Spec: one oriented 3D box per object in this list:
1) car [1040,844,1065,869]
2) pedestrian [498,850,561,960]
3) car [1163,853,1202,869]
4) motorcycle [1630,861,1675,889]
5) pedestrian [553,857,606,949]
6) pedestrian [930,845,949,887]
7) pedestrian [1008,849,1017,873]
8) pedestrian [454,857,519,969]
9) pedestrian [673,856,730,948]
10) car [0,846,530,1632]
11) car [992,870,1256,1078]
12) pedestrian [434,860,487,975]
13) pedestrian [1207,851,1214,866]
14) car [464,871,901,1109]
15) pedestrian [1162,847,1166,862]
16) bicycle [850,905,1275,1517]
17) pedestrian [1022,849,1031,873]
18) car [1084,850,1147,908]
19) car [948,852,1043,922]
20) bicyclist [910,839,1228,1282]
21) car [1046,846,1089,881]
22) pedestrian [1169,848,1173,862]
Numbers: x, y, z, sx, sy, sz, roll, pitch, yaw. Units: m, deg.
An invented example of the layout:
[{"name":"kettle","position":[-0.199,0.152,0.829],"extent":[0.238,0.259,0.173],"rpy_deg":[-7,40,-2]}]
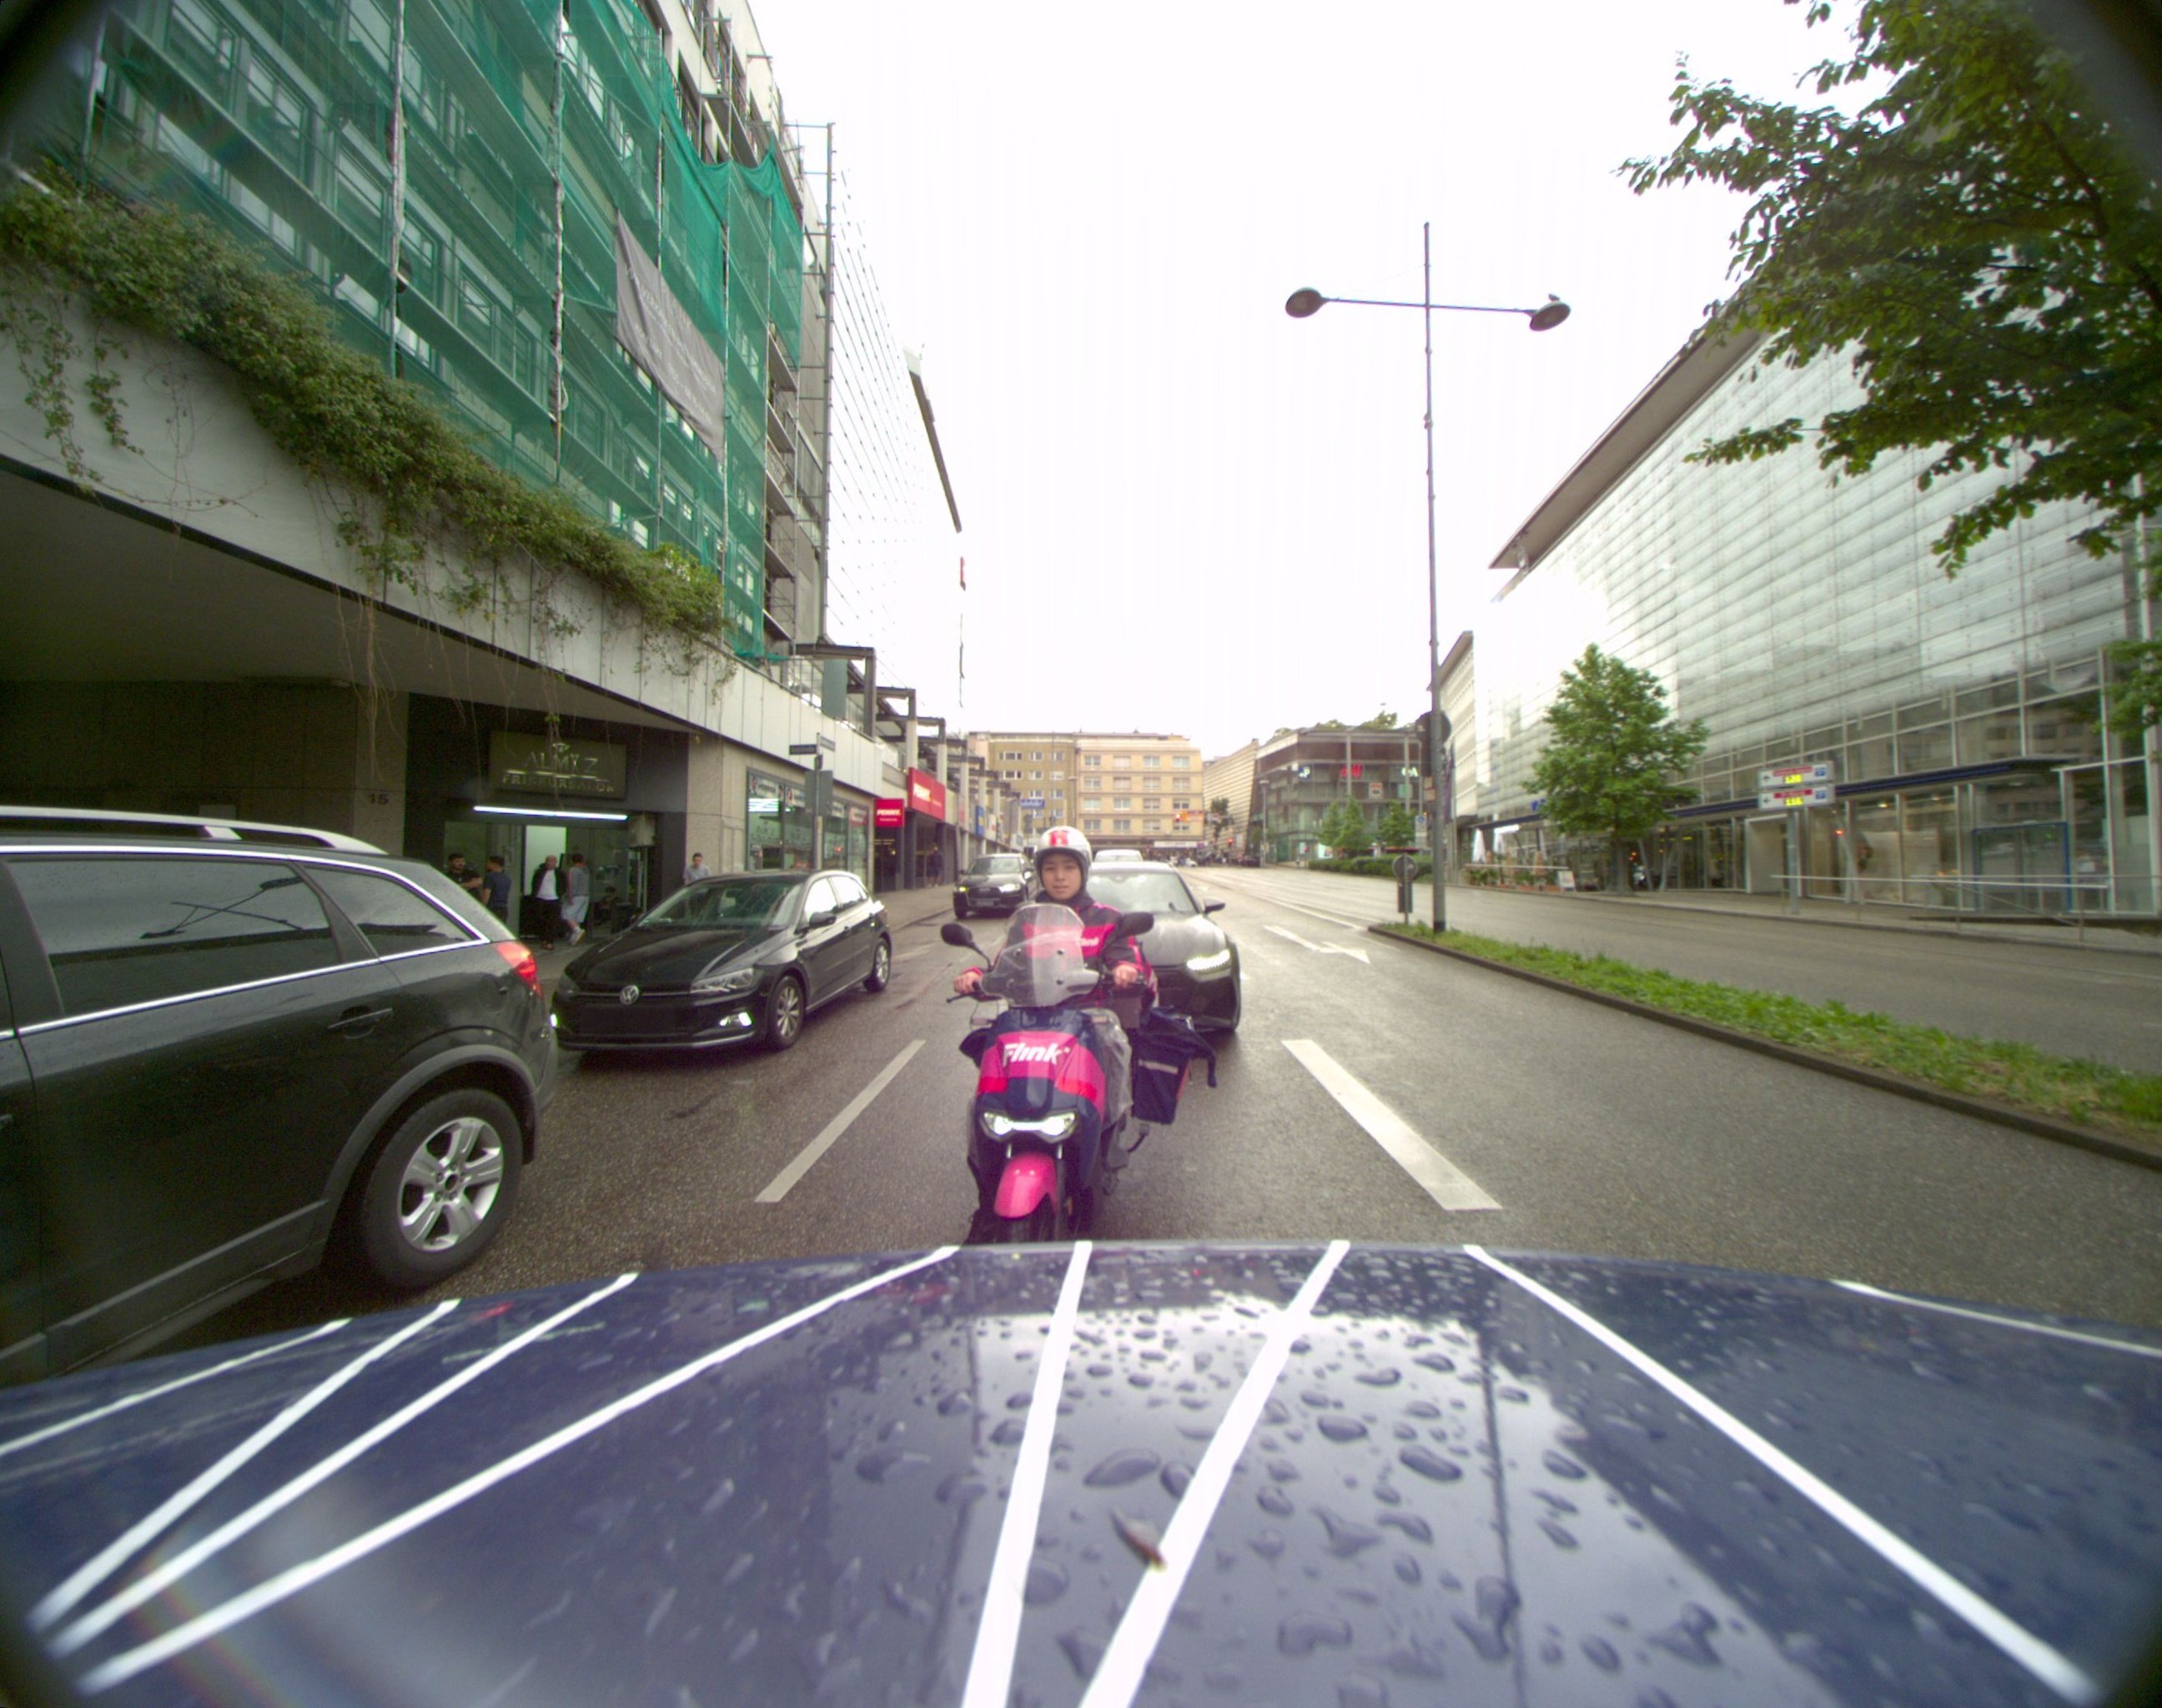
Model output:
[{"name":"car","position":[-2.416,0.205,65.568],"extent":[1.605,2.002,3.400],"rpy_deg":[-2,1,7]},{"name":"pedestrian","position":[-9.496,0.844,13.075],"extent":[0.771,1.805,0.745],"rpy_deg":[2,2,45]},{"name":"car","position":[12.898,0.925,96.844],"extent":[4.594,2.002,1.995],"rpy_deg":[0,1,-25]},{"name":"motorcycle","position":[28.033,1.033,37.262],"extent":[1.707,1.319,0.620],"rpy_deg":[0,1,1]},{"name":"pedestrian","position":[-9.251,0.877,14.031],"extent":[0.578,1.618,0.678],"rpy_deg":[2,2,44]},{"name":"pedestrian","position":[-5.724,0.486,30.682],"extent":[0.581,1.669,0.509],"rpy_deg":[-1,2,-34]},{"name":"pedestrian","position":[-4.279,0.433,47.345],"extent":[0.510,1.492,0.579],"rpy_deg":[0,2,0]},{"name":"pedestrian","position":[-8.837,0.847,11.320],"extent":[0.640,1.586,0.576],"rpy_deg":[-3,2,-32]},{"name":"pedestrian","position":[-7.038,0.873,14.123],"extent":[0.639,1.633,0.733],"rpy_deg":[-2,2,-3]},{"name":"car","position":[-3.323,0.883,1.233],"extent":[1.764,1.755,4.164],"rpy_deg":[-2,0,0]},{"name":"car","position":[0.403,0.934,7.670],"extent":[1.890,1.392,4.164],"rpy_deg":[-2,0,2]},{"name":"pedestrian","position":[-9.572,0.960,11.723],"extent":[0.466,1.698,0.484],"rpy_deg":[0,2,42]},{"name":"pedestrian","position":[14.702,0.510,86.420],"extent":[0.626,1.764,0.689],"rpy_deg":[-2,2,5]},{"name":"car","position":[-3.174,0.963,7.180],"extent":[1.759,1.495,4.165],"rpy_deg":[-2,-1,2]},{"name":"pedestrian","position":[9.282,0.068,85.378],"extent":[0.428,1.620,0.602],"rpy_deg":[1,1,5]},{"name":"bicycle","position":[-0.027,1.013,3.398],"extent":[1.034,1.279,2.948],"rpy_deg":[-2,1,1]},{"name":"pedestrian","position":[-3.409,0.434,47.500],"extent":[0.510,1.492,0.579],"rpy_deg":[0,2,0]},{"name":"car","position":[1.047,0.709,22.924],"extent":[1.675,1.520,4.165],"rpy_deg":[-2,-1,2]},{"name":"car","position":[-2.158,0.782,20.322],"extent":[1.841,1.598,4.164],"rpy_deg":[-2,1,2]},{"name":"bicyclist","position":[-0.033,0.722,3.074],"extent":[1.063,1.534,0.825],"rpy_deg":[-2,2,0]},{"name":"car","position":[-0.678,0.514,41.001],"extent":[1.988,1.696,4.165],"rpy_deg":[-2,-1,2]},{"name":"pedestrian","position":[10.299,0.103,86.908],"extent":[0.428,1.620,0.602],"rpy_deg":[1,1,3]}]
